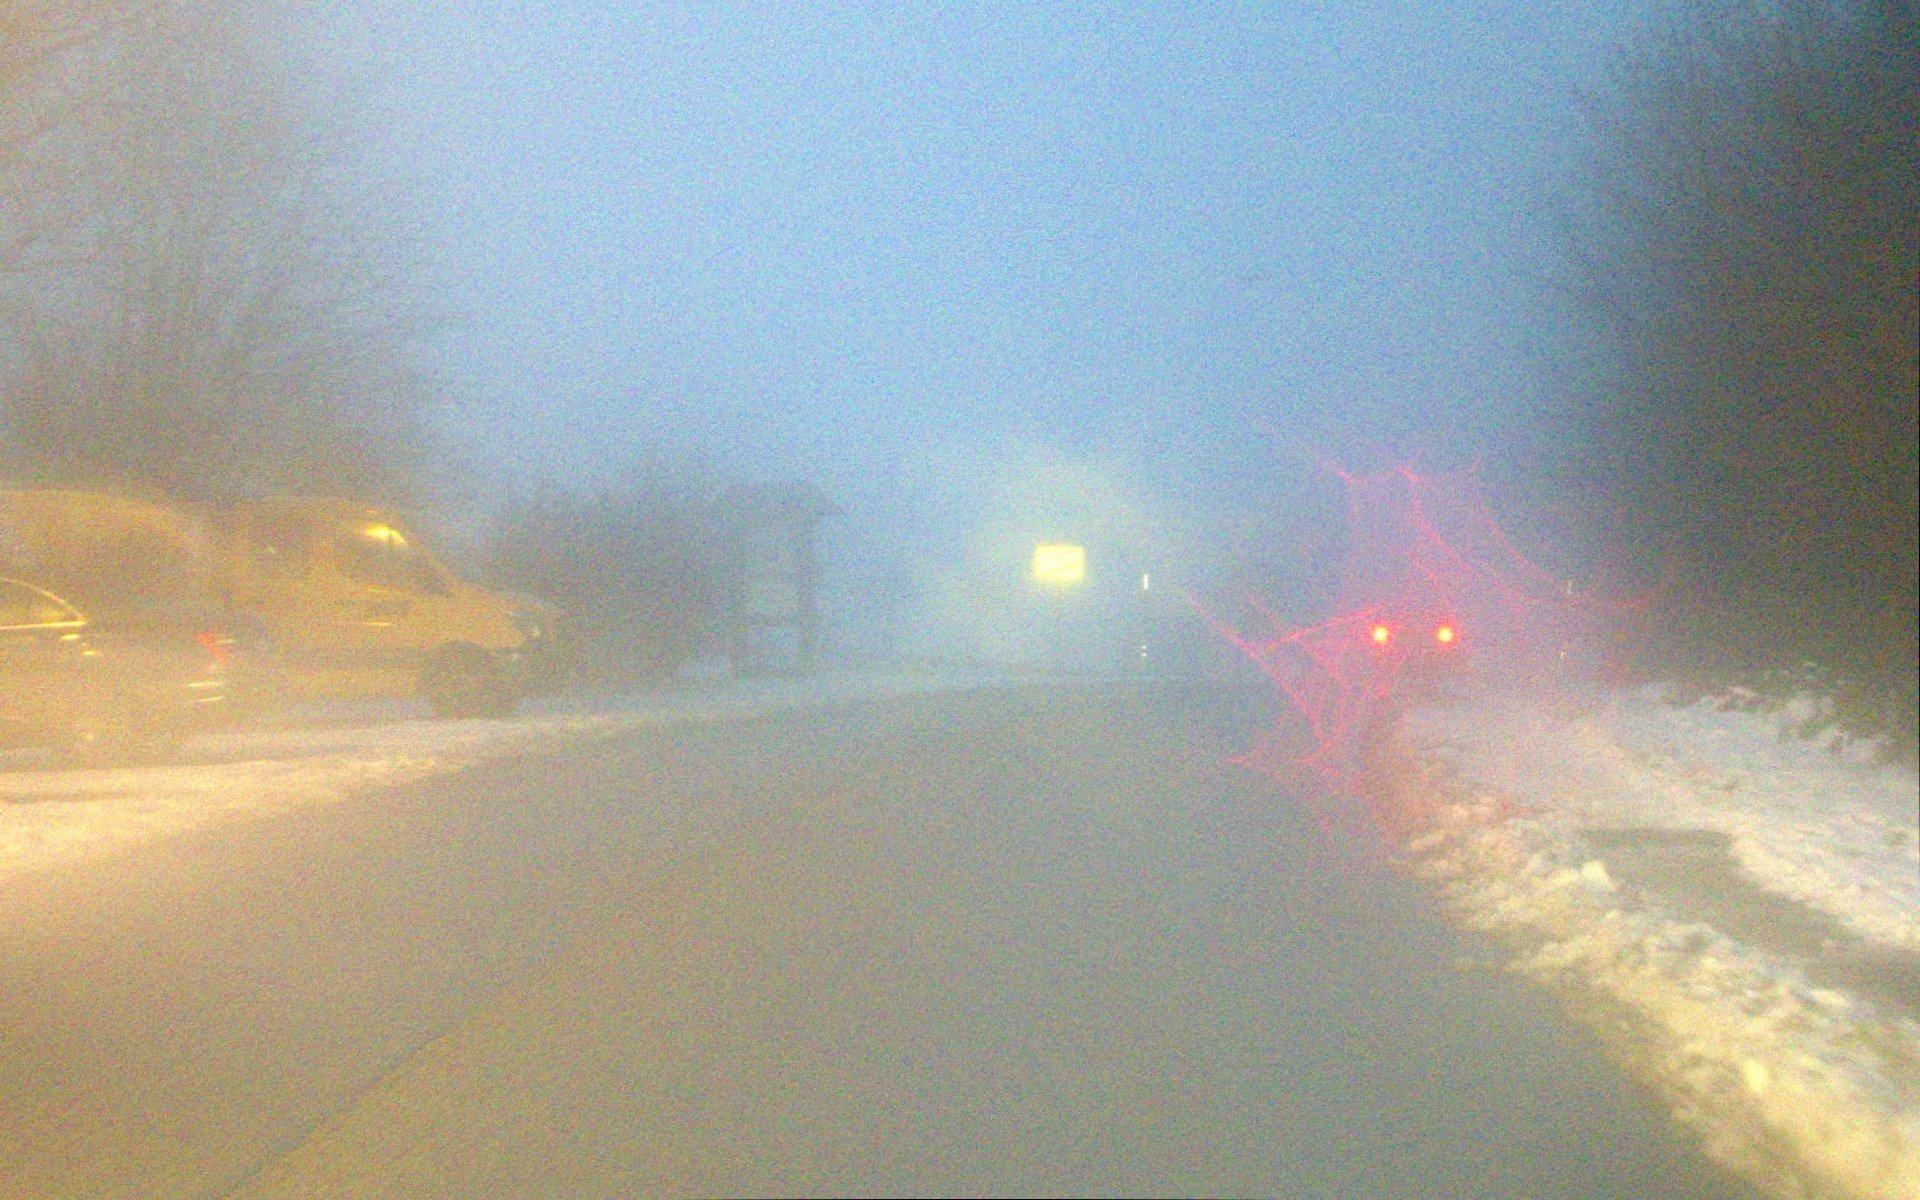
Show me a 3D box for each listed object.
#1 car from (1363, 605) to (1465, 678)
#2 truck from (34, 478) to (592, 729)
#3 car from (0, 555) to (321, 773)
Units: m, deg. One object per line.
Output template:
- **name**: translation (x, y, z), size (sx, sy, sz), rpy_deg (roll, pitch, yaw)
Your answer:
- **car**: translation (9.258, 0.833, 70.323), size (1.994, 1.415, 3.999), rpy_deg (1, 0, 7)
- **truck**: translation (-6.533, 0.019, 35.158), size (5.261, 2.295, 2.000), rpy_deg (-2, 1, 0)
- **car**: translation (-7.385, 0.495, 25.380), size (4.887, 1.480, 2.123), rpy_deg (-2, 1, 0)
